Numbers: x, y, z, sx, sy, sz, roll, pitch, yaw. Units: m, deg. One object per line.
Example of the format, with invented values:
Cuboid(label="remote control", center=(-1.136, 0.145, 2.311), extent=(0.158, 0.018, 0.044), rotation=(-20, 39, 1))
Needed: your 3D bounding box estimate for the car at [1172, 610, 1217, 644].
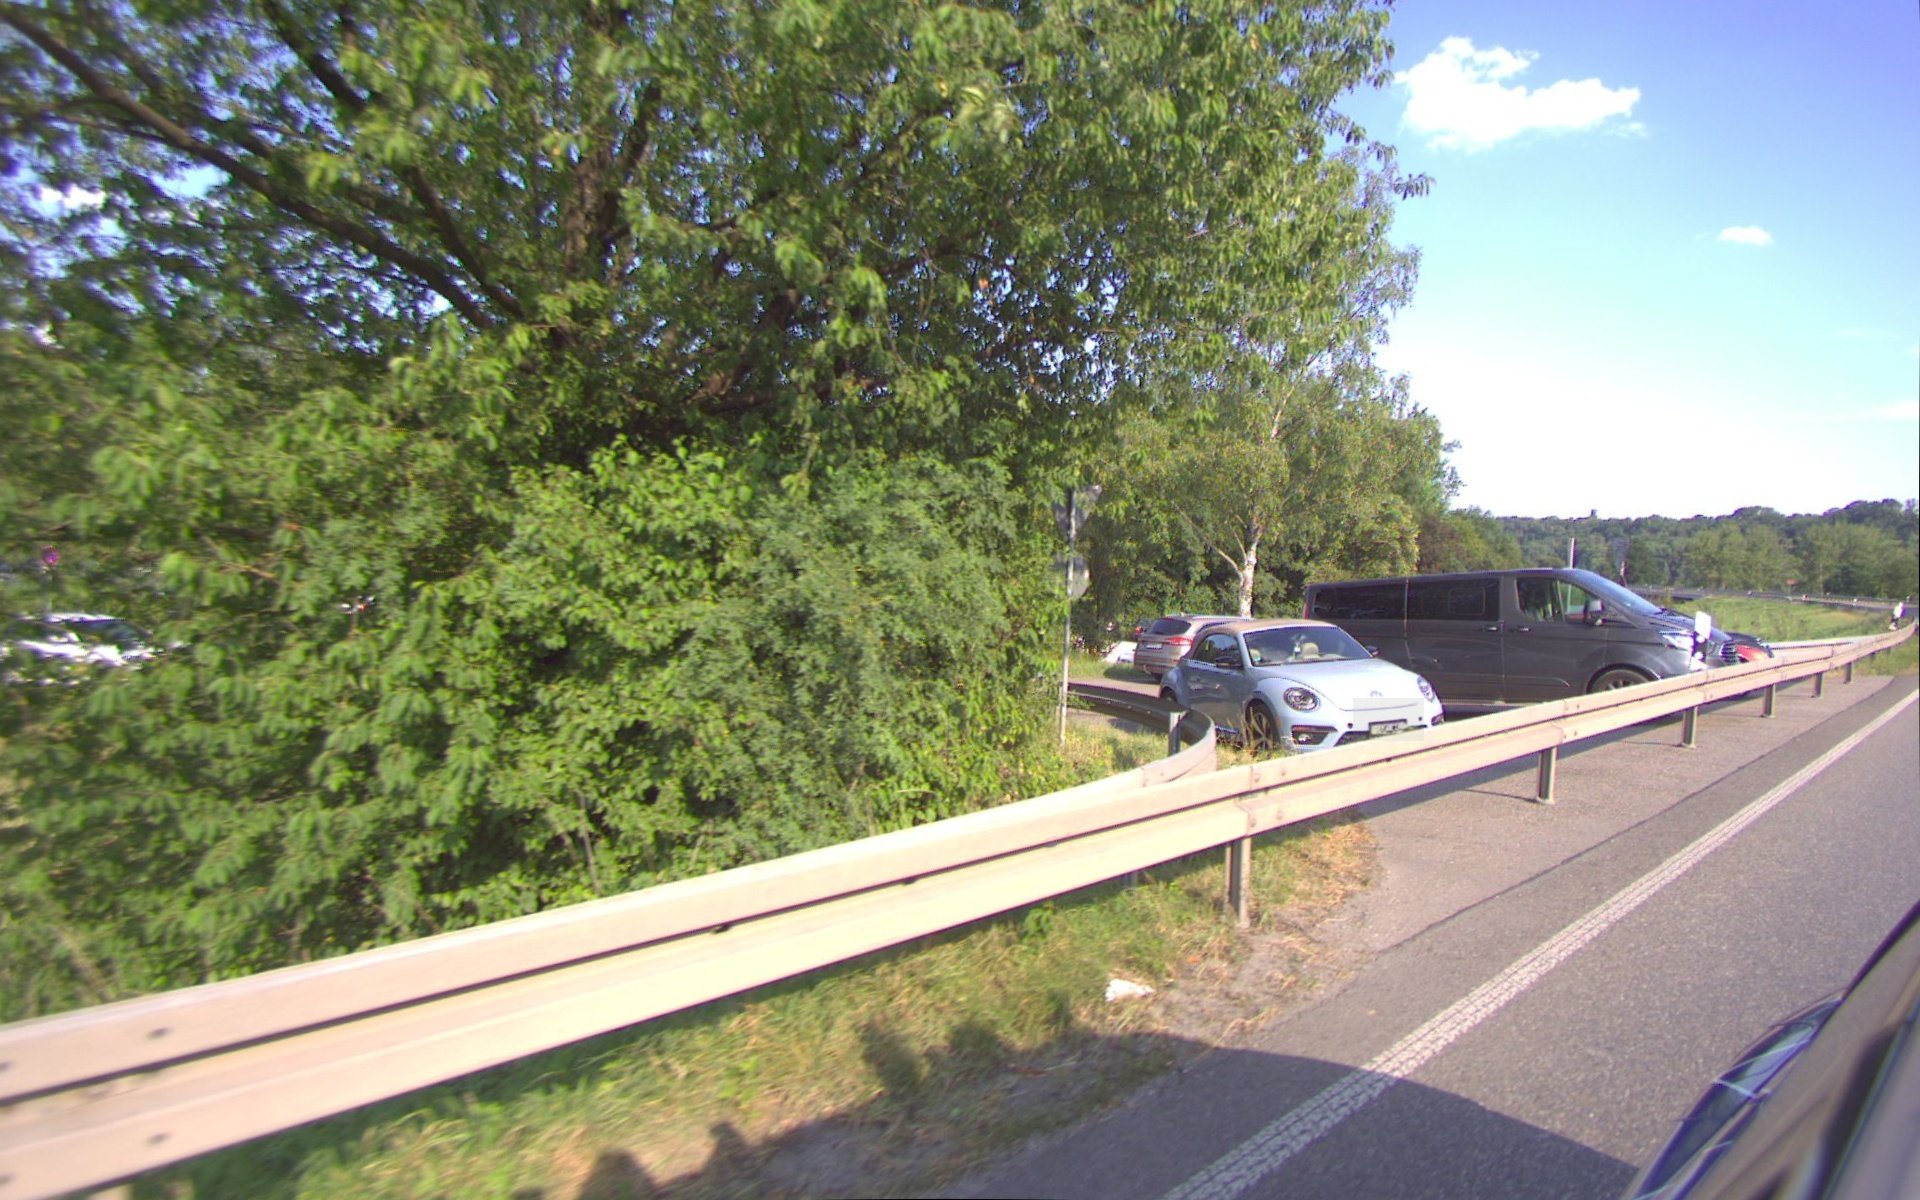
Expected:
Cuboid(label="car", center=(13.536, 1.507, 58.296), extent=(1.783, 1.712, 4.561), rotation=(1, 1, 23))

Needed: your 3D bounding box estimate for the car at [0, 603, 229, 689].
Cuboid(label="car", center=(-17.148, 0.847, 19.853), extent=(4.570, 1.526, 1.994), rotation=(0, 0, 11))

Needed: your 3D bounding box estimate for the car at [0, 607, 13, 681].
Cuboid(label="car", center=(-22.180, 0.914, 20.576), extent=(4.570, 1.526, 1.994), rotation=(0, 0, 11))

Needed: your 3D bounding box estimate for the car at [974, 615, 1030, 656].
Cuboid(label="car", center=(2.060, 1.655, 48.429), extent=(1.777, 1.712, 4.577), rotation=(1, 1, 14))

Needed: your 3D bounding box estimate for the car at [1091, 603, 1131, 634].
Cuboid(label="car", center=(9.192, 1.079, 61.354), extent=(1.779, 1.712, 4.572), rotation=(1, 1, 17))

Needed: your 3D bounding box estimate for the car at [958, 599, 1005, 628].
Cuboid(label="car", center=(1.387, 0.814, 64.007), extent=(1.779, 1.712, 4.572), rotation=(1, 1, 17))

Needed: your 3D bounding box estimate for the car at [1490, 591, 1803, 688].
Cuboid(label="car", center=(12.230, 0.730, 18.351), extent=(4.263, 1.529, 1.712), rotation=(-3, -2, 16))

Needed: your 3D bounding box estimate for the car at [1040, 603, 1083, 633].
Cuboid(label="car", center=(6.341, 1.071, 62.816), extent=(1.779, 1.712, 4.572), rotation=(1, 1, 17))

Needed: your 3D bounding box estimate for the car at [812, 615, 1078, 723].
Cuboid(label="car", center=(-0.203, 0.974, 15.428), extent=(3.684, 1.459, 1.799), rotation=(-1, 0, 21))

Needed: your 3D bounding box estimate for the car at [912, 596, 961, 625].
Cuboid(label="car", center=(-1.463, 0.625, 64.298), extent=(1.779, 1.712, 4.572), rotation=(1, 1, 17))

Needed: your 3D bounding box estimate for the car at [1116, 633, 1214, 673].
Cuboid(label="car", center=(8.717, 2.217, 42.913), extent=(4.212, 1.504, 1.694), rotation=(1, 1, -37))

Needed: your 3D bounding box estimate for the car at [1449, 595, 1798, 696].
Cuboid(label="car", center=(10.347, 0.753, 16.189), extent=(4.268, 1.418, 1.710), rotation=(-3, -3, 19))

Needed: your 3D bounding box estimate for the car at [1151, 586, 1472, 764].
Cuboid(label="car", center=(3.657, 0.801, 11.407), extent=(1.644, 1.575, 4.014), rotation=(-2, -3, -9))

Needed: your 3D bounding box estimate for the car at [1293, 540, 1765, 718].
Cuboid(label="car", center=(7.417, 0.495, 13.685), extent=(1.943, 1.969, 5.139), rotation=(1, -4, -45))

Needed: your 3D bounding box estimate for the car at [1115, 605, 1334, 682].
Cuboid(label="car", center=(5.656, 0.854, 21.511), extent=(4.498, 1.459, 1.813), rotation=(0, 0, -30))
